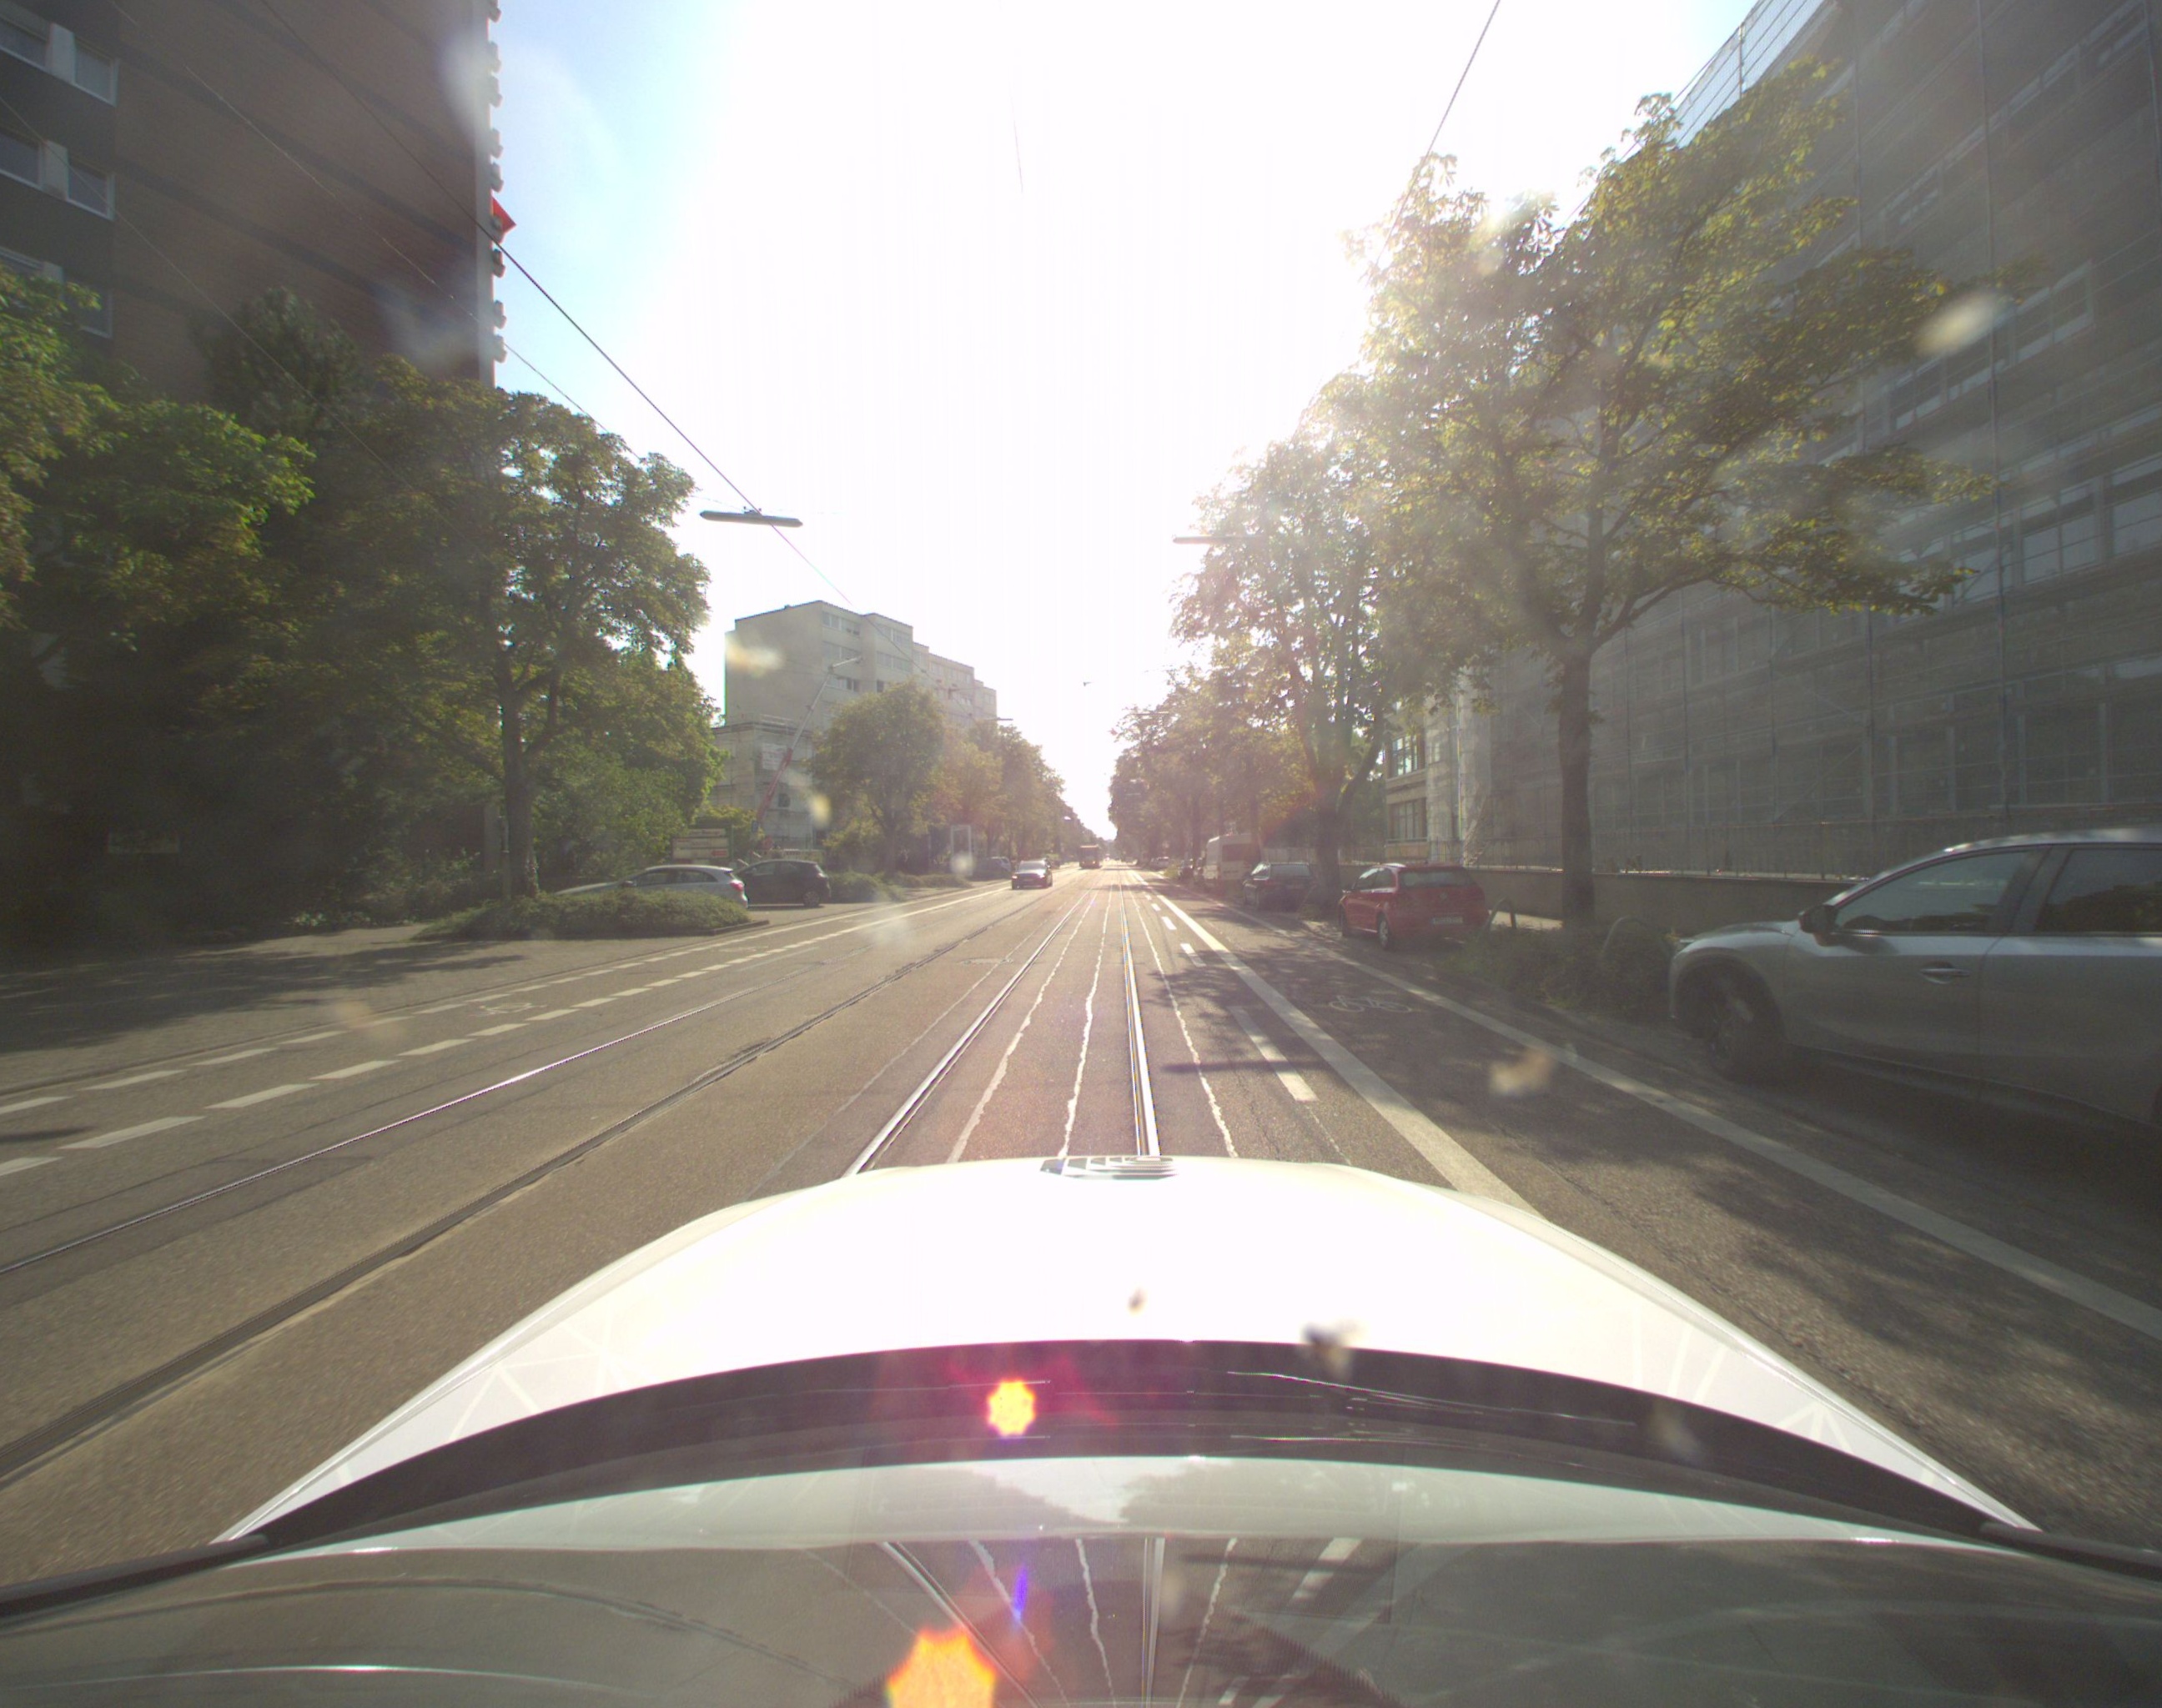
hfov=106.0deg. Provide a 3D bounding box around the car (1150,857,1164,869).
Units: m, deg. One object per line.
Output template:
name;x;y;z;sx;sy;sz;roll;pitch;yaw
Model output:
car;9.472;1.072;101.595;1.588;1.418;3.637;-1;0;3

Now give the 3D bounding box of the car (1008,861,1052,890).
car;-2.597;1.070;42.544;1.821;1.376;4.514;-1;0;2

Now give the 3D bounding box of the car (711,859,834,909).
car;-10.055;0.947;26.645;3.649;1.515;1.609;1;0;-23

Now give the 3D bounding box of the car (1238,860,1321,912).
car;5.988;0.914;25.044;1.610;1.374;4.831;-2;0;3

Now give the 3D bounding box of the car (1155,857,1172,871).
car;8.839;1.091;87.788;1.682;1.418;3.637;-1;0;3

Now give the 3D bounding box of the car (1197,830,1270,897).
car;6.479;0.397;35.312;2.075;2.552;5.502;-4;0;1

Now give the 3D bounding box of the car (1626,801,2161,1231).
car;5.132;0.635;4.200;1.747;1.691;4.396;0;0;1

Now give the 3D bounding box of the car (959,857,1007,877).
car;-8.394;1.137;70.215;3.816;1.621;1.723;0;-1;-42

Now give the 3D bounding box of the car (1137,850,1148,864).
car;11.738;0.574;156.299;1.996;2.475;4.481;-1;0;3

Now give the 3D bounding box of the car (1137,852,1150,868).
car;9.922;0.906;129.525;1.996;2.490;4.481;1;-1;3

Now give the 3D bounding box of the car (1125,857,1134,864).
car;12.031;1.620;201.514;1.985;1.838;4.004;-1;0;4

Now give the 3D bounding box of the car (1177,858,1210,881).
car;7.440;1.008;54.175;1.746;1.377;4.722;-3;0;3

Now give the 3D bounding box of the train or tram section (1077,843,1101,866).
train or tram section;1.264;0.172;112.800;2.718;2.894;15.464;-1;0;3

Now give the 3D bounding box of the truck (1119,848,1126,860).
truck;11.101;0.054;218.406;1.854;3.131;4.352;-1;0;0

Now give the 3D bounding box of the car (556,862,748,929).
car;-10.402;0.940;20.011;4.009;1.479;1.773;0;0;-27

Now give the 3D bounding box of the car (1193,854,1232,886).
car;7.146;0.853;44.703;1.657;1.616;3.880;-2;0;3

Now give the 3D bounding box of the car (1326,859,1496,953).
car;5.778;0.833;14.781;1.610;1.413;4.003;-2;0;3
